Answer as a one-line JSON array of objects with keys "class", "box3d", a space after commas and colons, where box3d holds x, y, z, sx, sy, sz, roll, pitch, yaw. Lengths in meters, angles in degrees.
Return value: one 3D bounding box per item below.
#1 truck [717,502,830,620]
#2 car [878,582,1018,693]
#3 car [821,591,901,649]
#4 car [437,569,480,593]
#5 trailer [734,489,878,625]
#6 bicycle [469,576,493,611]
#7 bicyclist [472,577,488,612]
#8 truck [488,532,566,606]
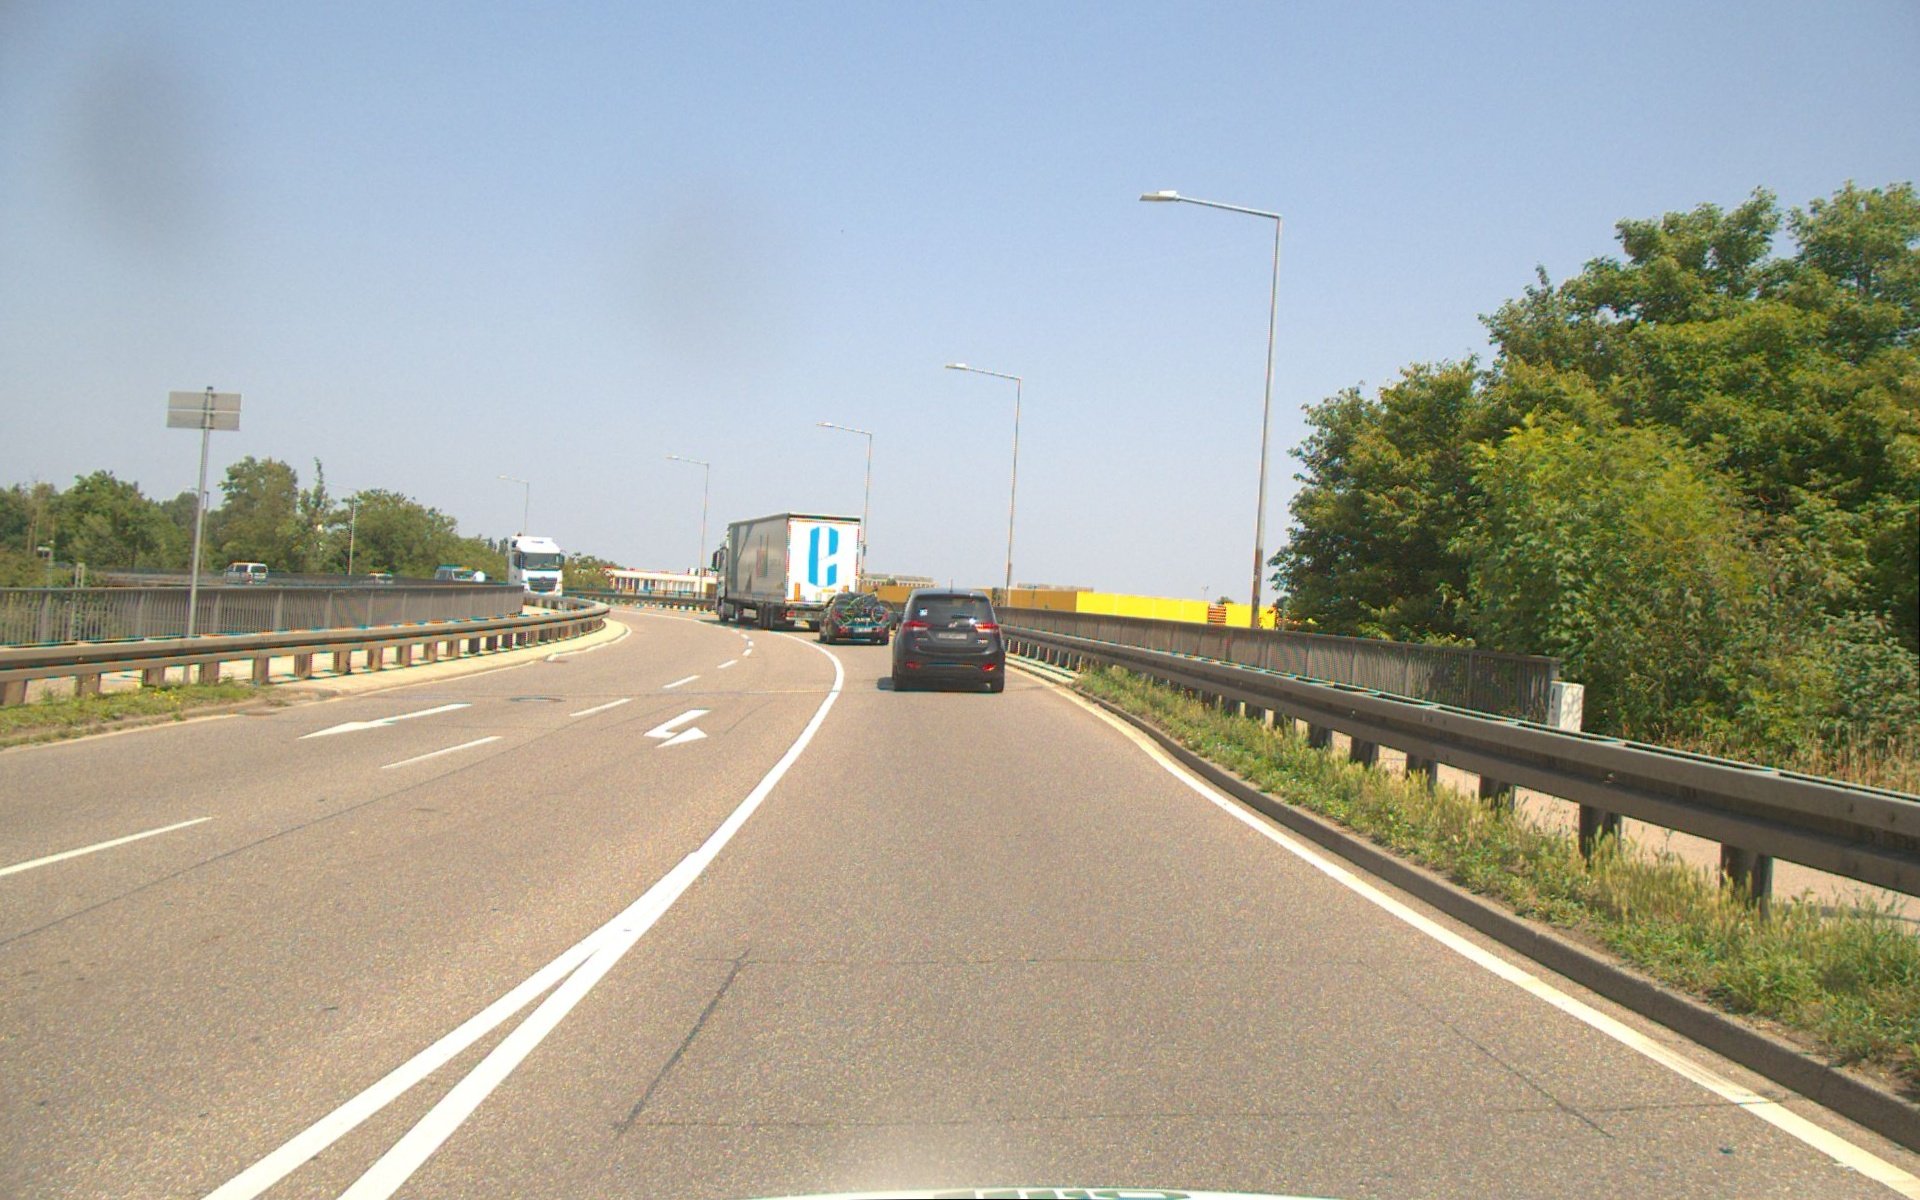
[{"class": "truck", "box3d": [-7.811, -1.589, 68.538, 3.514, 4.518, 6.488, 2, 0, -16]}, {"class": "car", "box3d": [-0.277, 0.554, 26.964, 1.884, 1.601, 3.887, 2, 0, -6]}, {"class": "car", "box3d": [-2.822, 0.520, 46.393, 1.973, 1.454, 3.771, 2, 0, -7]}, {"class": "car", "box3d": [-32.711, -1.249, 107.791, 1.547, 1.410, 3.569, 2, 1, -36]}, {"class": "trailer", "box3d": [-5.980, -1.540, 61.819, 3.510, 4.460, 11.398, 2, 0, -14]}, {"class": "bicycle", "box3d": [-26.127, -0.362, 90.188, 0.691, 1.833, 2.159, 2, 0, -30]}, {"class": "bicyclist", "box3d": [-26.207, -0.304, 90.286, 0.618, 1.919, 0.705, 2, 0, -32]}, {"class": "truck", "box3d": [-25.357, -1.830, 96.672, 2.678, 4.061, 6.122, 2, 0, -31]}]
